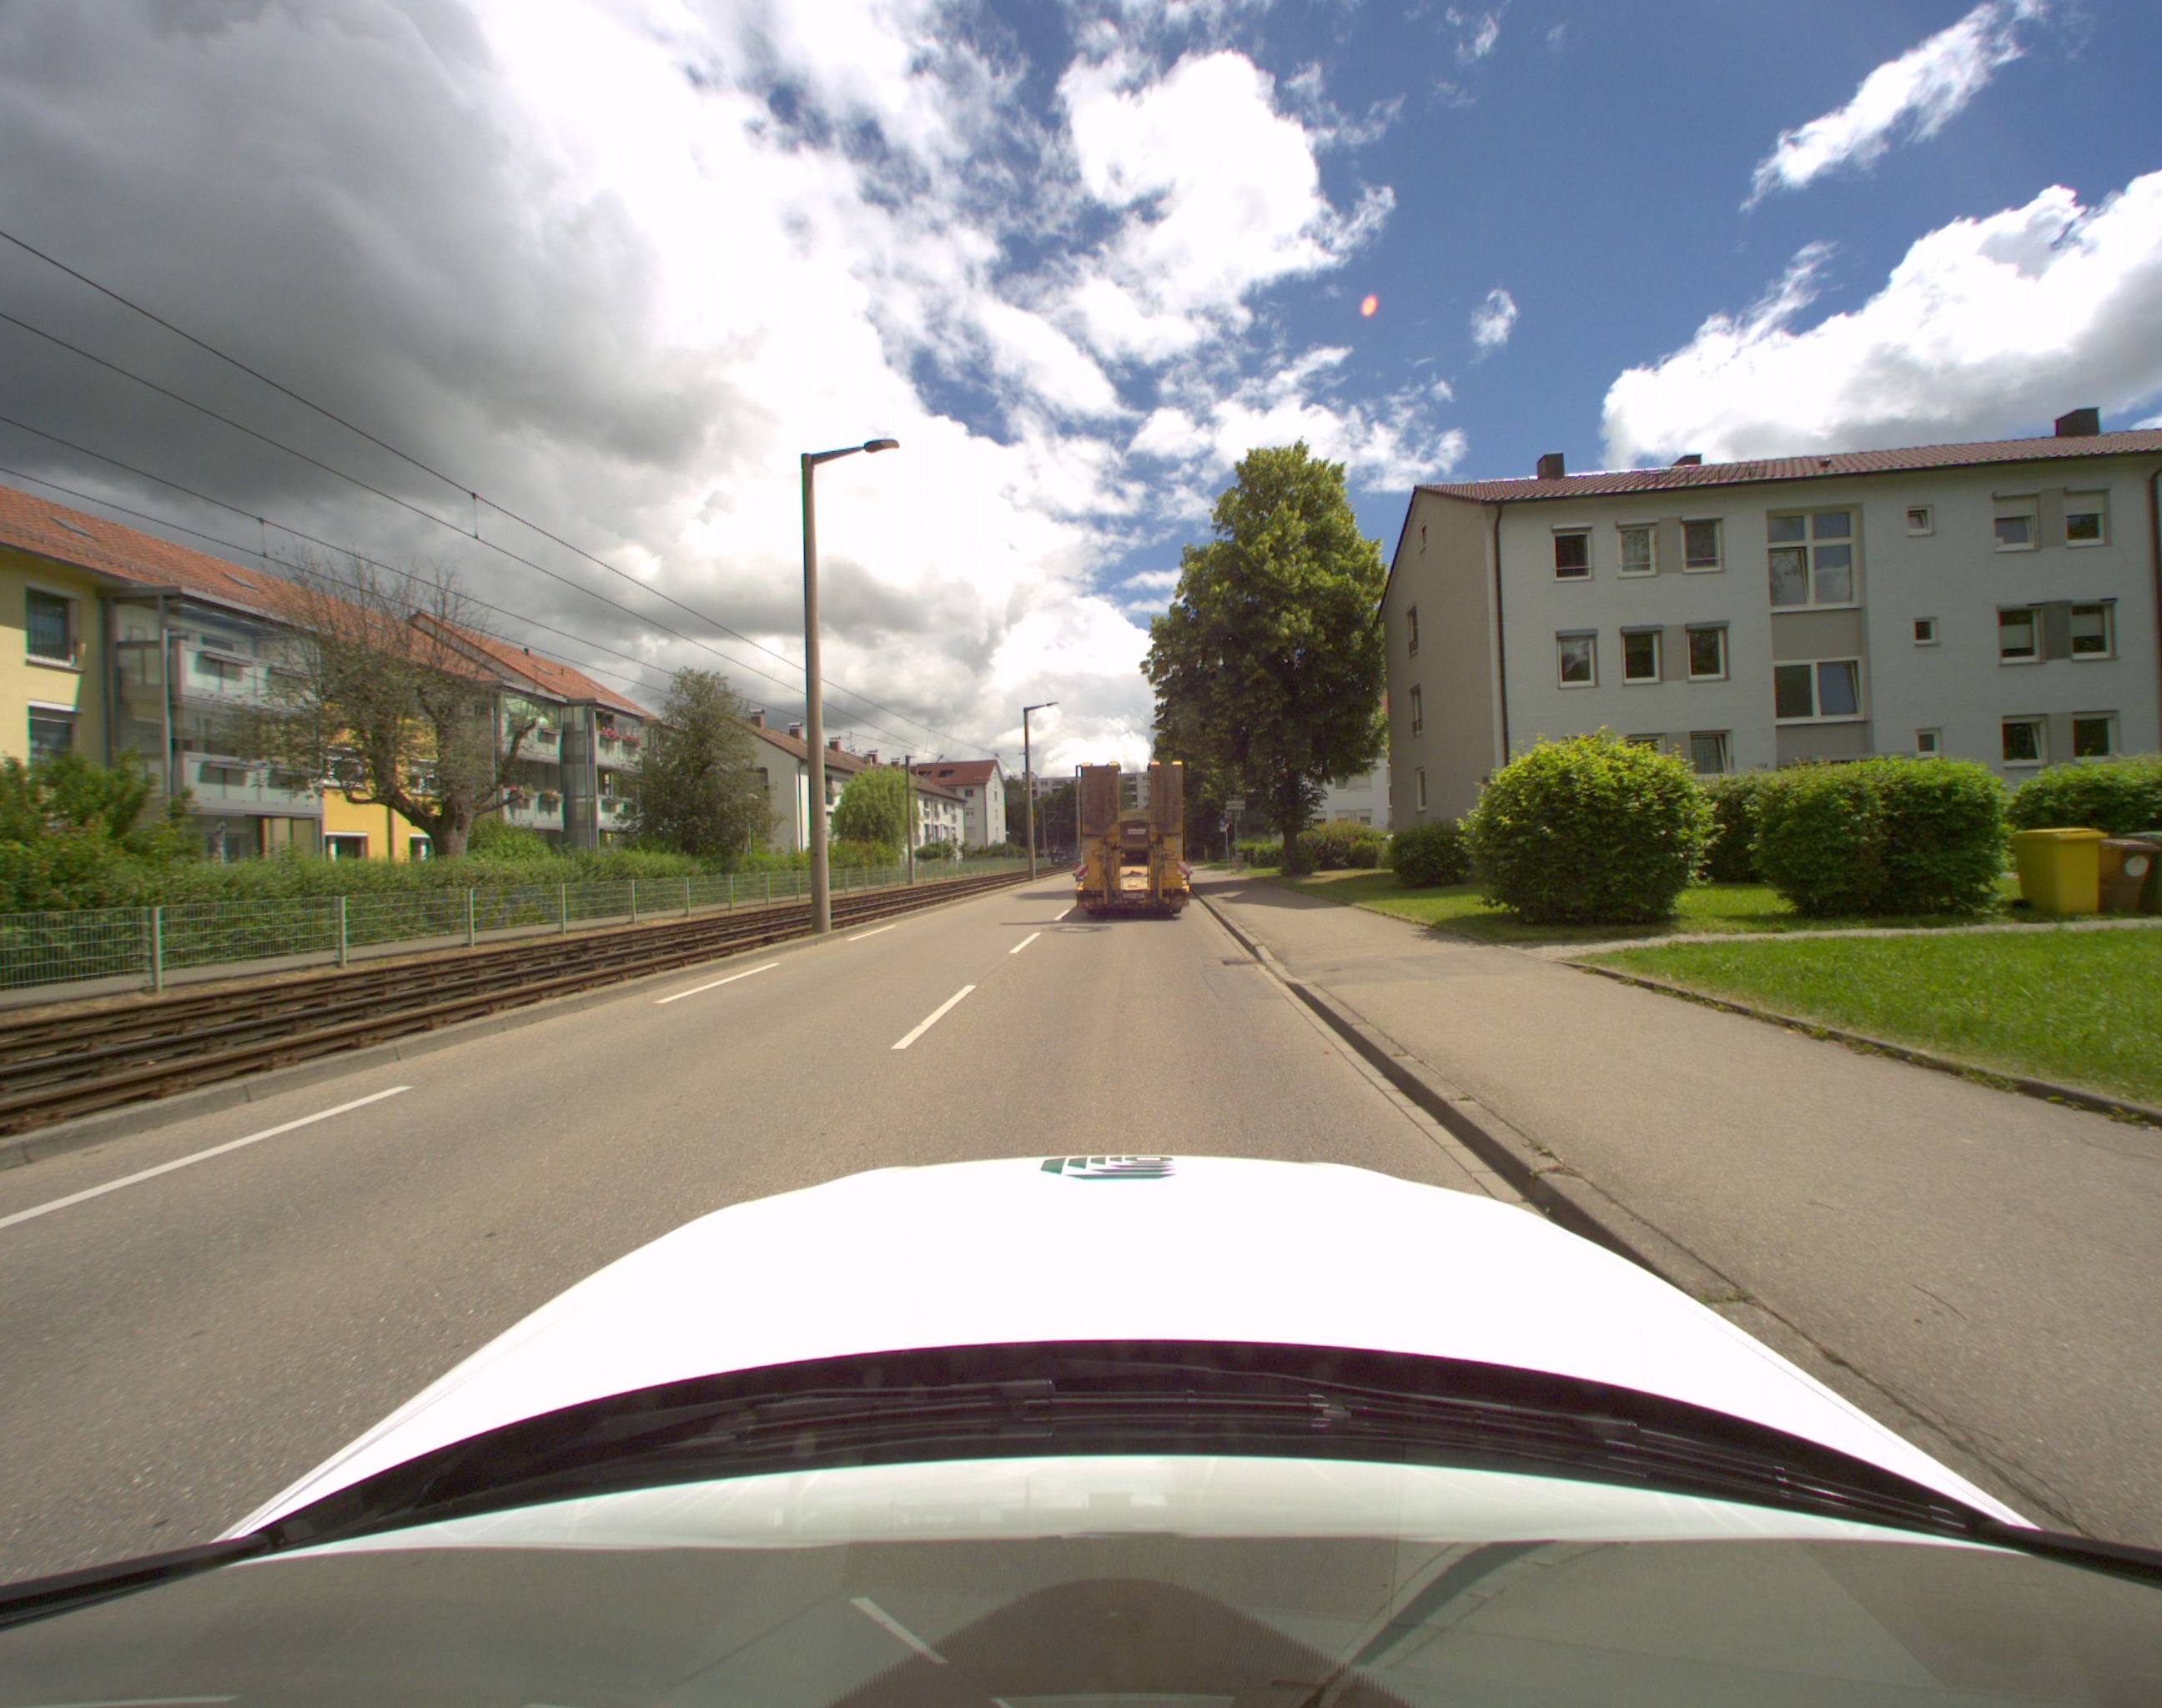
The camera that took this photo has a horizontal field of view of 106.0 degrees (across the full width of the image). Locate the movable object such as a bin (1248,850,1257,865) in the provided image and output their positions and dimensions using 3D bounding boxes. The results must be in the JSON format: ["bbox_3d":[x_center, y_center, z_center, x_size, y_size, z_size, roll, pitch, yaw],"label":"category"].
[{"bbox_3d":[11.102,0.215,52.748,0.494,0.955,0.581,-3,-1,5],"label":"movable object such as a bin"}]

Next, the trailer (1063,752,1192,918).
[{"bbox_3d":[1.194,-0.399,24.099,2.817,3.646,12.358,0,0,2],"label":"trailer"}]

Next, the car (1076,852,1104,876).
[{"bbox_3d":[0.637,0.648,55.330,1.616,1.525,3.585,-1,0,4],"label":"car"}]
